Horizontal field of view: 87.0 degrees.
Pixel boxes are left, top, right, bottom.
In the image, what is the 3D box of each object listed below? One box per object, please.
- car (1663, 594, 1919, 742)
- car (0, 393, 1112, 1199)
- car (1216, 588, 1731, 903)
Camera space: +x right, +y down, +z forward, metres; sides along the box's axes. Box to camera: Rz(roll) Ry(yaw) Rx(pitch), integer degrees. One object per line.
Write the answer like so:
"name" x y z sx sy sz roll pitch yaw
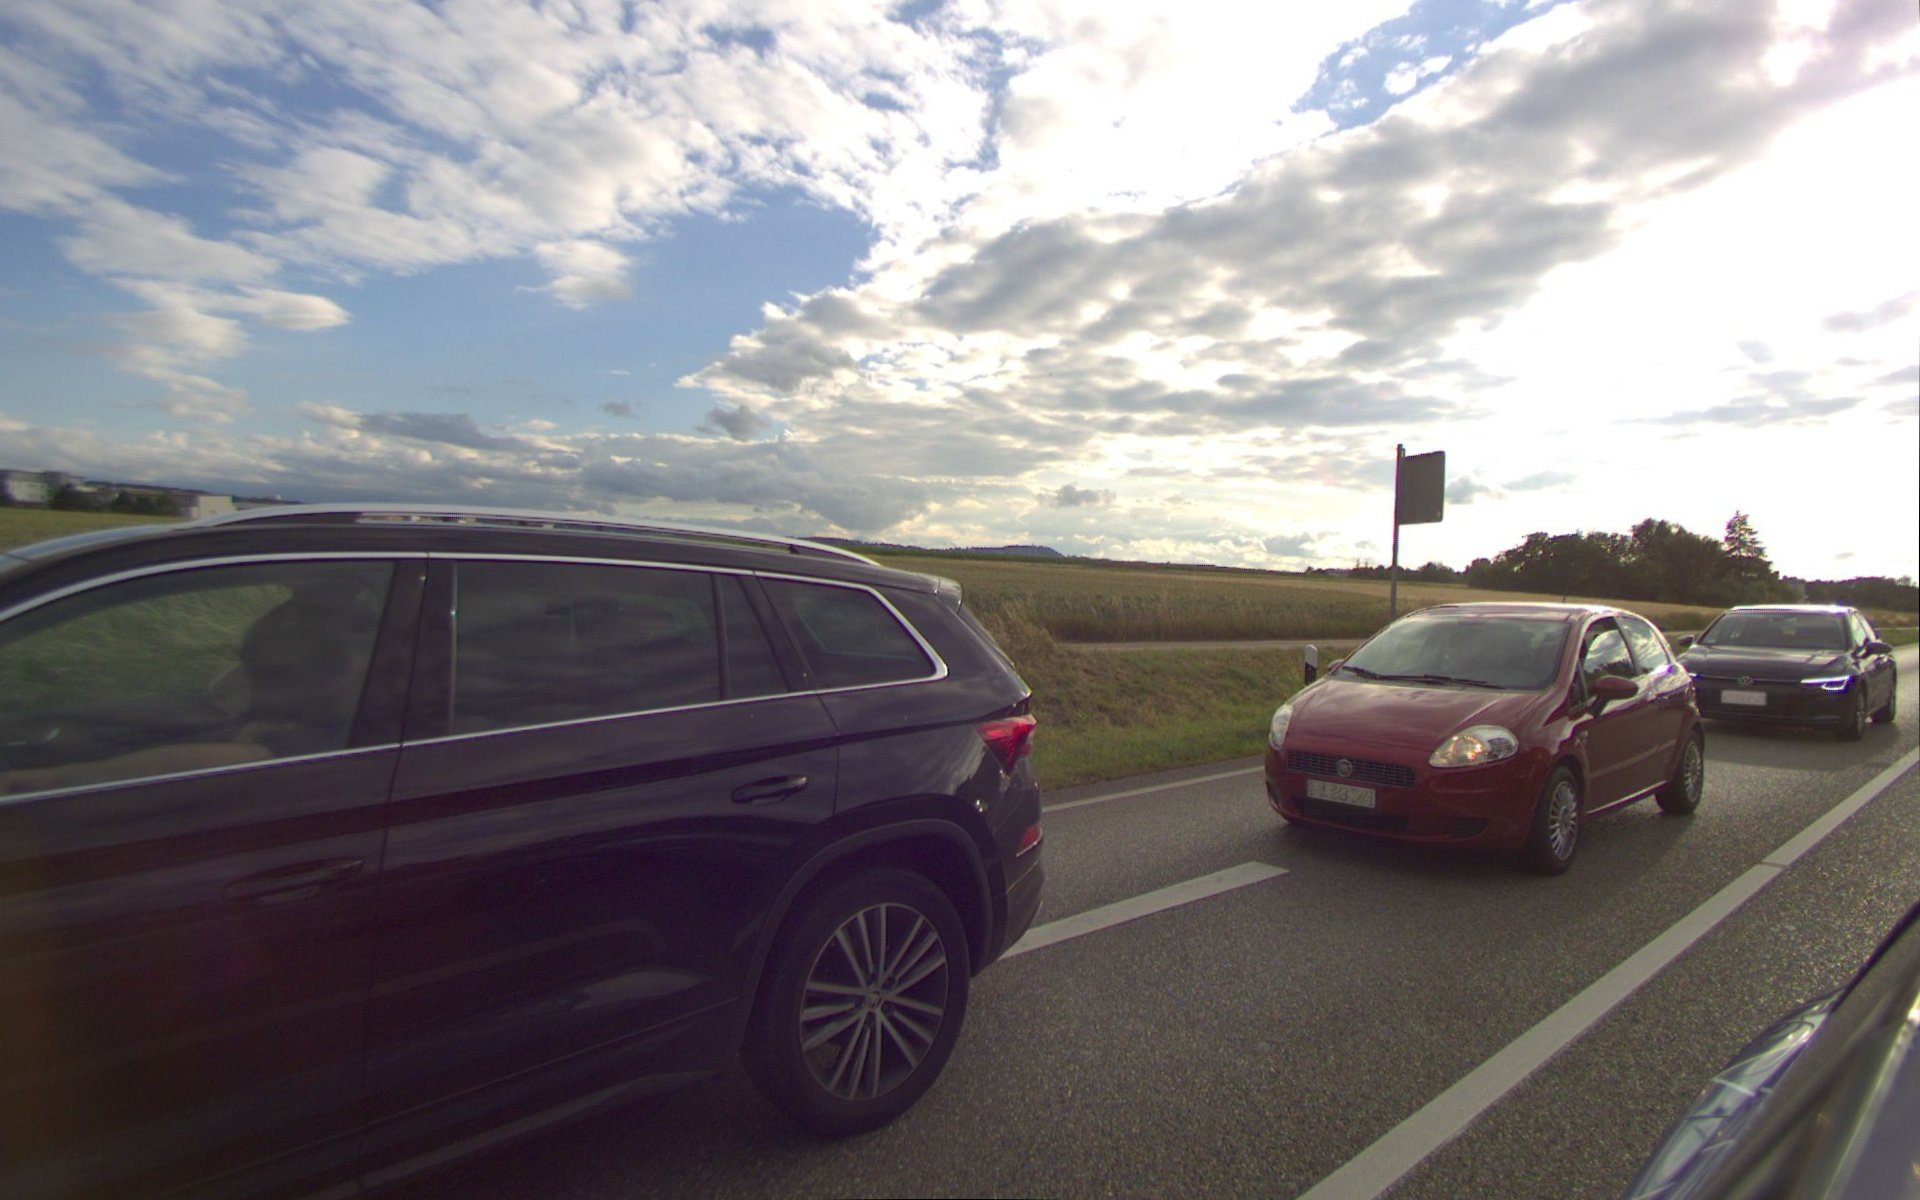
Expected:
"car" 10.129 0.677 12.200 3.962 1.475 1.797 0 0 -41
"car" -1.792 0.535 2.547 4.477 1.730 1.839 -1 0 -41
"car" 3.549 0.673 6.695 3.840 1.475 1.710 -1 0 -41
